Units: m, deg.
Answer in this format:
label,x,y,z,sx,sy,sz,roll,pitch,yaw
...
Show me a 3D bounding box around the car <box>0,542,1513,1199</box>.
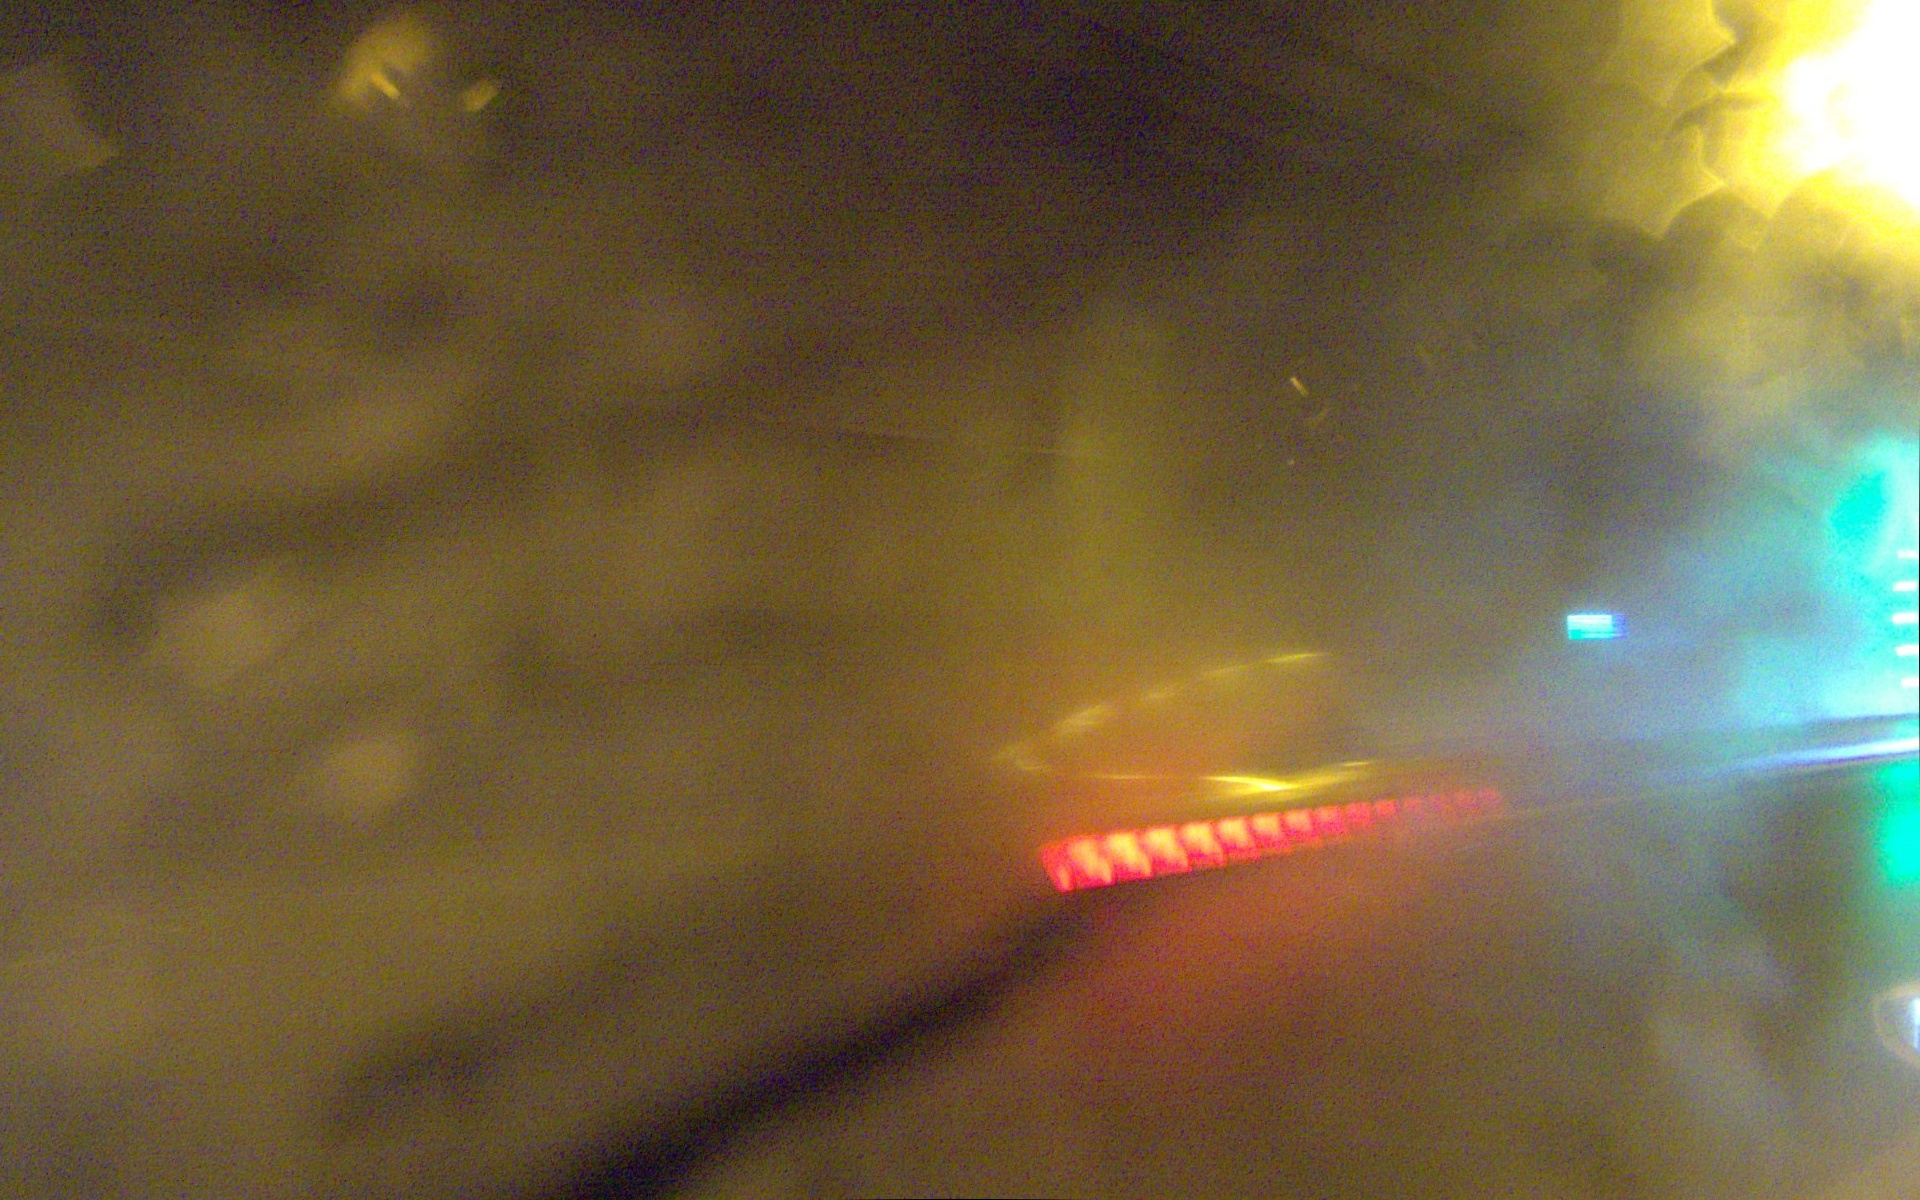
label,x,y,z,sx,sy,sz,roll,pitch,yaw
car,-0.710,0.664,2.544,4.243,1.427,1.769,0,-1,-30
